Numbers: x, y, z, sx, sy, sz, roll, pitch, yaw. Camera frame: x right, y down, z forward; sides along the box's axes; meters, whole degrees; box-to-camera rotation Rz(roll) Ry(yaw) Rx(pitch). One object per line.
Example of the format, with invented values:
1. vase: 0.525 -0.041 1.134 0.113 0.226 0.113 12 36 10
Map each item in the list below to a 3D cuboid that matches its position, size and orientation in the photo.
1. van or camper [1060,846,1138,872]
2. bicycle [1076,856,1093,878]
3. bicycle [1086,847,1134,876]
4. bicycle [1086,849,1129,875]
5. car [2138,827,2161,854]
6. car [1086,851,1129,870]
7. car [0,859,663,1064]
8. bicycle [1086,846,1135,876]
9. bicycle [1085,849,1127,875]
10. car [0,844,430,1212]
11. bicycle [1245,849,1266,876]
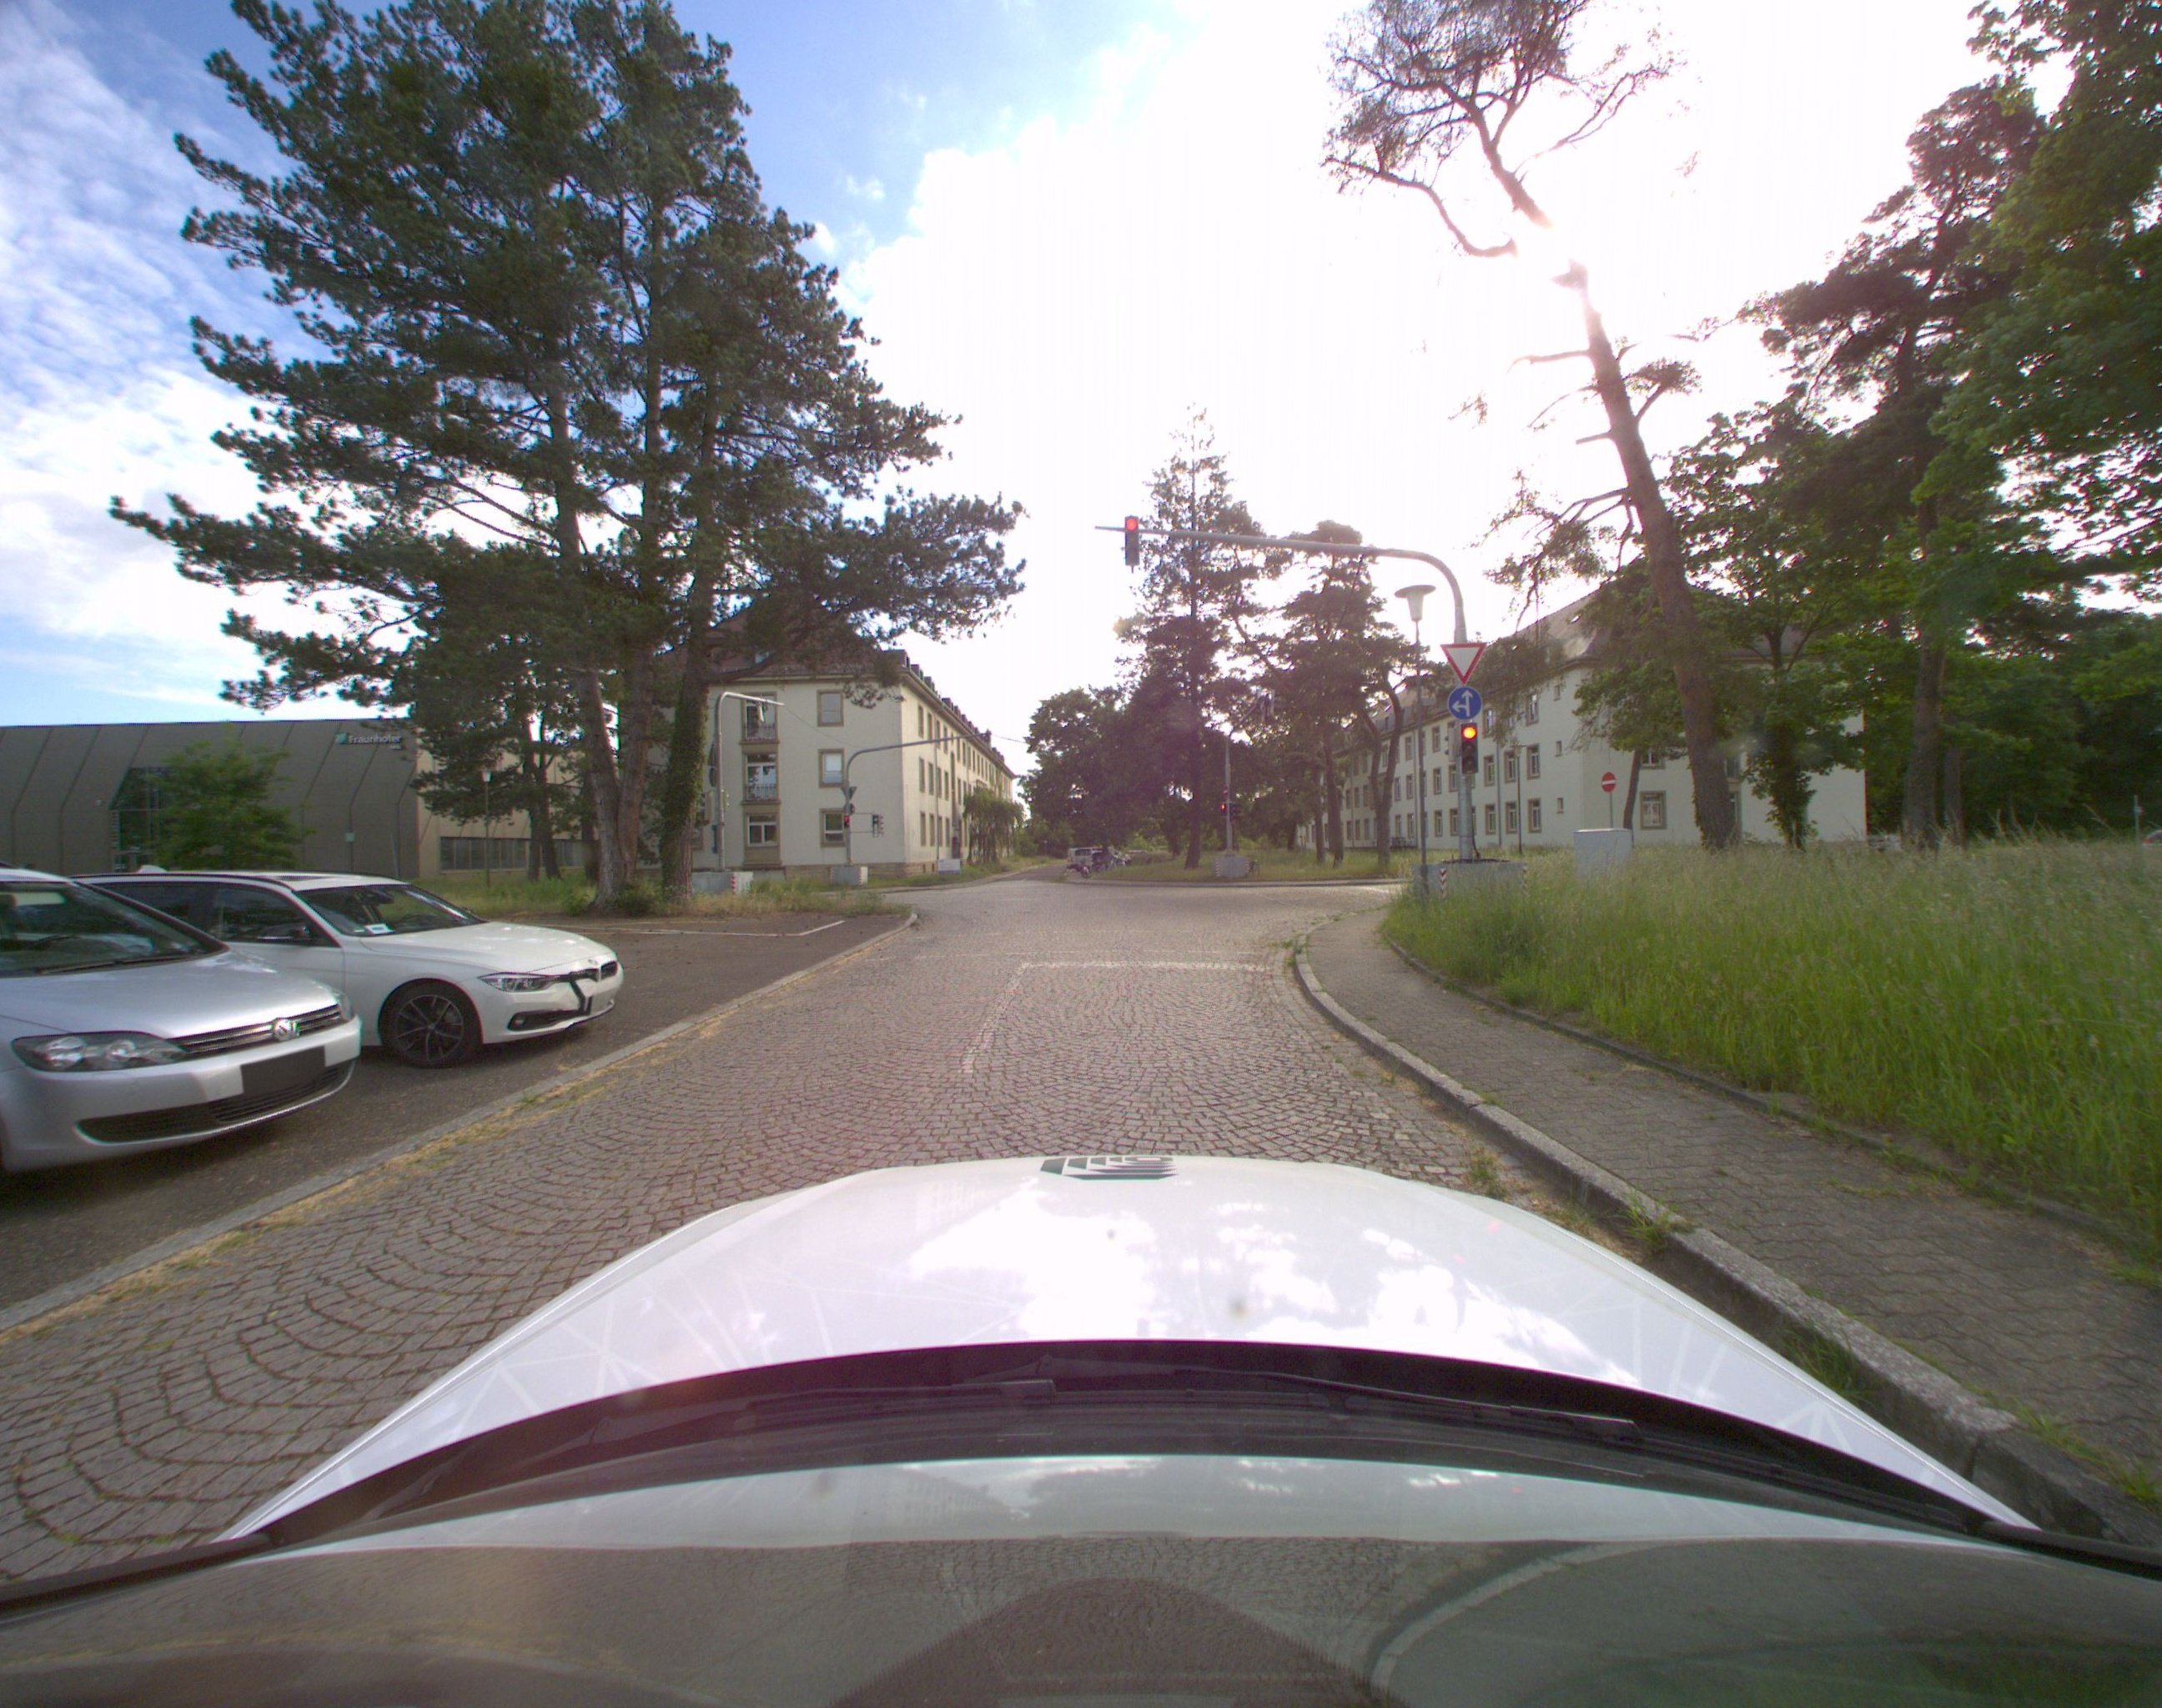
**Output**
1. van or camper: 1.463 0.410 66.845 6.039 1.948 1.991 -2 0 -13
2. bicycle: 0.214 0.713 44.595 0.723 1.107 2.463 -6 0 2
3. bicycle: 1.750 0.440 50.067 2.773 1.694 1.117 -1 0 -7
4. bicycle: 1.745 0.531 53.632 2.763 1.694 1.121 1 0 4
5. car: 57.730 -0.671 42.163 3.973 1.398 1.563 1 0 0
6. car: 2.045 0.520 63.266 3.133 1.354 1.617 -1 0 -6
7. car: -6.288 0.813 6.899 4.467 1.442 1.828 1 0 -3
8. bicycle: 1.759 0.415 48.873 2.771 1.694 1.118 -1 0 -5
9. bicycle: 1.679 0.516 54.971 2.765 1.694 1.121 1 0 1
10. car: -6.171 0.752 4.391 3.821 1.607 1.734 1 0 -3
11. bicycle: 7.930 0.390 37.061 0.720 1.169 2.742 0 0 7
